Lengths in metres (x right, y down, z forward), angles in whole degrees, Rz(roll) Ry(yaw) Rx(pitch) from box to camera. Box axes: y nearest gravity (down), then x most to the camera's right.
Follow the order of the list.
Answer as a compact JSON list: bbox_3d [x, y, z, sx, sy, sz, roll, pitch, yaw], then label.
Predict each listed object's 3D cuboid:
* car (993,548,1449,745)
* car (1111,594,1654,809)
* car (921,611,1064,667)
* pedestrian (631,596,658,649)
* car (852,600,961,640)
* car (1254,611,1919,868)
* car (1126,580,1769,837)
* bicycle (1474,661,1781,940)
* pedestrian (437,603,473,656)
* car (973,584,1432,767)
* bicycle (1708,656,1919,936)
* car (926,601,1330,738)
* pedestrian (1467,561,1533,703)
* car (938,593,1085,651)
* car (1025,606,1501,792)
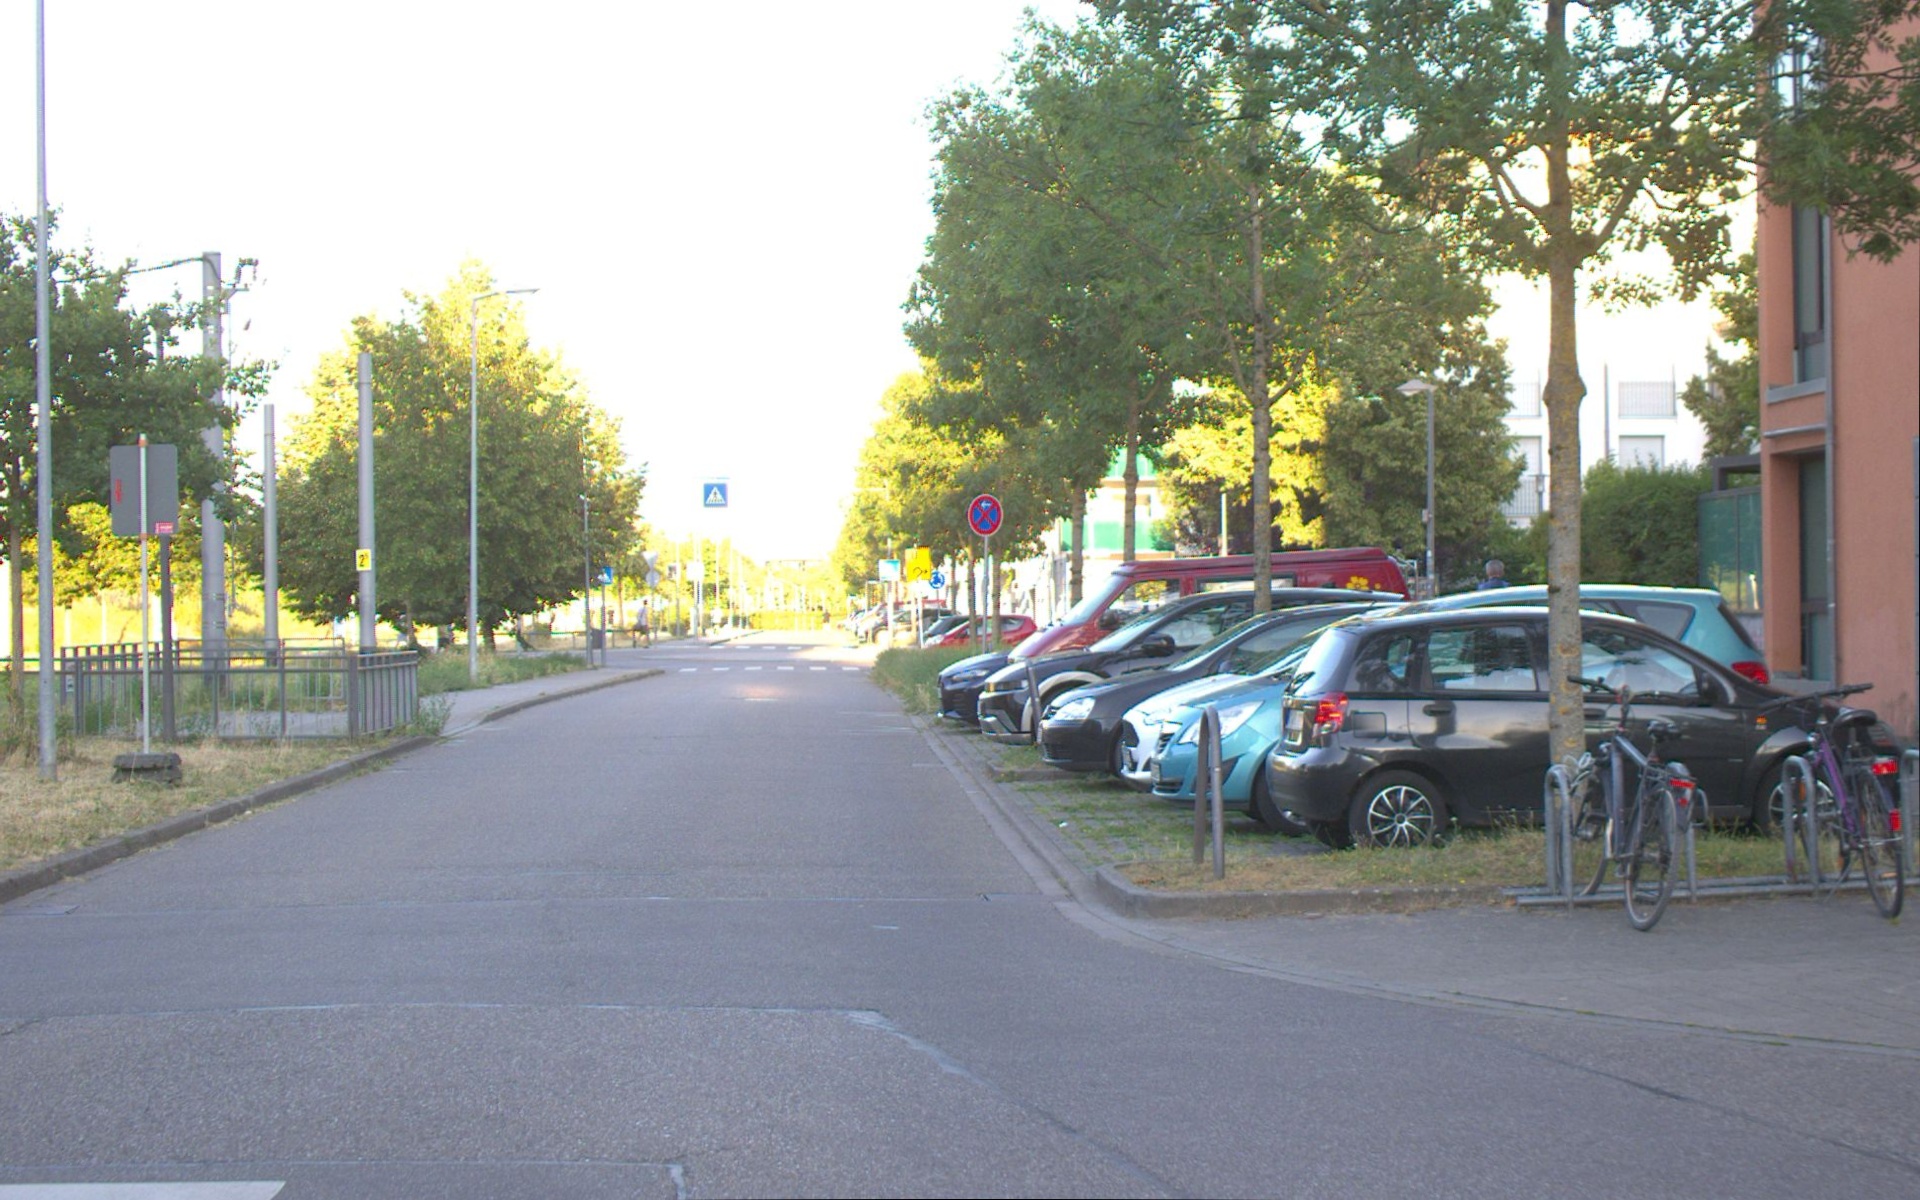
[{"bbox_3d":[2.863,0.505,38.593,4.919,2.110,2.017,0,0,-1],"label":"car"},{"bbox_3d":[3.146,0.742,26.073,3.876,1.563,1.620,0,0,-2],"label":"car"},{"bbox_3d":[0.880,1.072,94.912,3.802,1.503,1.679,-1,0,-4],"label":"car"},{"bbox_3d":[-12.034,0.866,131.164,0.846,2.007,0.943,-1,0,3],"label":"pedestrian"},{"bbox_3d":[-2.212,0.832,142.537,4.484,1.590,2.000,-1,0,-1],"label":"car"},{"bbox_3d":[3.801,0.813,20.980,3.748,1.468,1.613,0,0,-7],"label":"car"},{"bbox_3d":[3.246,0.707,23.386,4.050,1.563,1.673,-2,0,-2],"label":"car"},{"bbox_3d":[3.173,0.924,16.530,0.716,1.148,1.899,-2,2,-13],"label":"bicycle"},{"bbox_3d":[-16.284,0.939,110.847,1.018,1.687,0.760,0,0,-20],"label":"pedestrian"},{"bbox_3d":[2.294,0.707,33.316,4.215,1.563,1.792,-2,0,-2],"label":"car"},{"bbox_3d":[4.213,0.899,16.446,0.679,1.148,1.928,-2,2,-4],"label":"bicycle"},{"bbox_3d":[1.961,0.813,41.095,4.668,1.551,1.811,0,0,-3],"label":"car"},{"bbox_3d":[6.691,0.392,42.652,0.668,1.737,0.699,0,0,-3],"label":"pedestrian"},{"bbox_3d":[1.357,0.595,92.214,3.802,1.503,1.679,-1,0,-4],"label":"car"},{"bbox_3d":[2.479,0.827,28.682,3.773,1.490,1.539,0,-2,-2],"label":"car"}]
